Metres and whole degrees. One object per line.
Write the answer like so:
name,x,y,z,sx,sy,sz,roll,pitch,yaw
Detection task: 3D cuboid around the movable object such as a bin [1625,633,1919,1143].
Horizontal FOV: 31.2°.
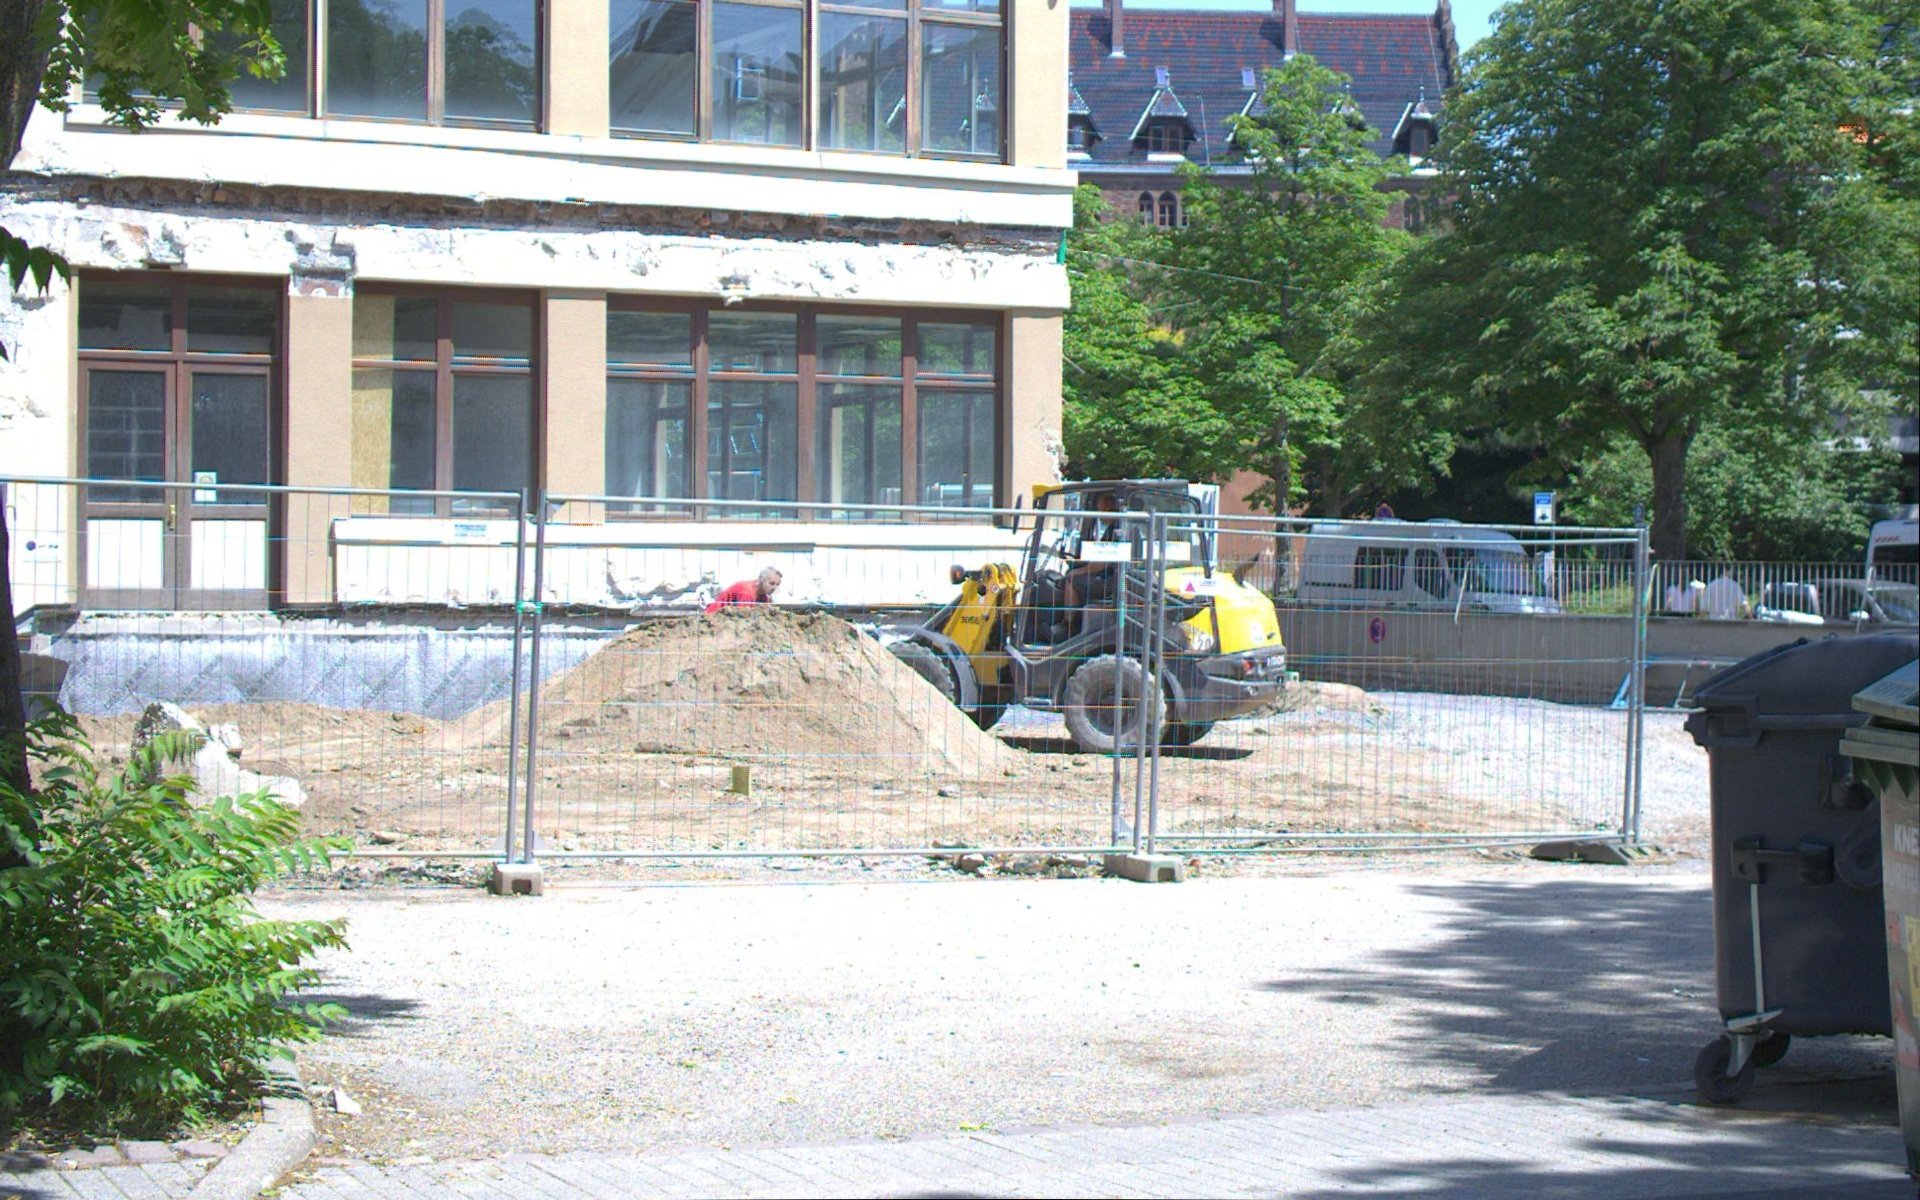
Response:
movable object such as a bin,2.727,0.844,10.658,1.075,1.453,1.377,0,0,1

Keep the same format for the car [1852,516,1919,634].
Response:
car,19.022,-0.486,67.765,2.187,2.250,4.863,0,0,22

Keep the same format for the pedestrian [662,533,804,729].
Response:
pedestrian,-2.166,0.288,32.834,0.985,1.840,0.915,1,0,44

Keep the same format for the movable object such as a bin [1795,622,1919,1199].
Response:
movable object such as a bin,2.438,0.783,7.153,1.075,1.453,1.377,0,0,1

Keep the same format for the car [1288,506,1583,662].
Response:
car,7.657,-0.259,55.876,1.993,2.408,5.244,0,0,-29

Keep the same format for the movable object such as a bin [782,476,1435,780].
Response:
movable object such as a bin,1.349,0.200,31.467,5.410,2.456,2.365,2,1,25

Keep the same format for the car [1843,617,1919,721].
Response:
car,13.607,0.890,45.300,3.712,1.316,1.614,0,0,-29
